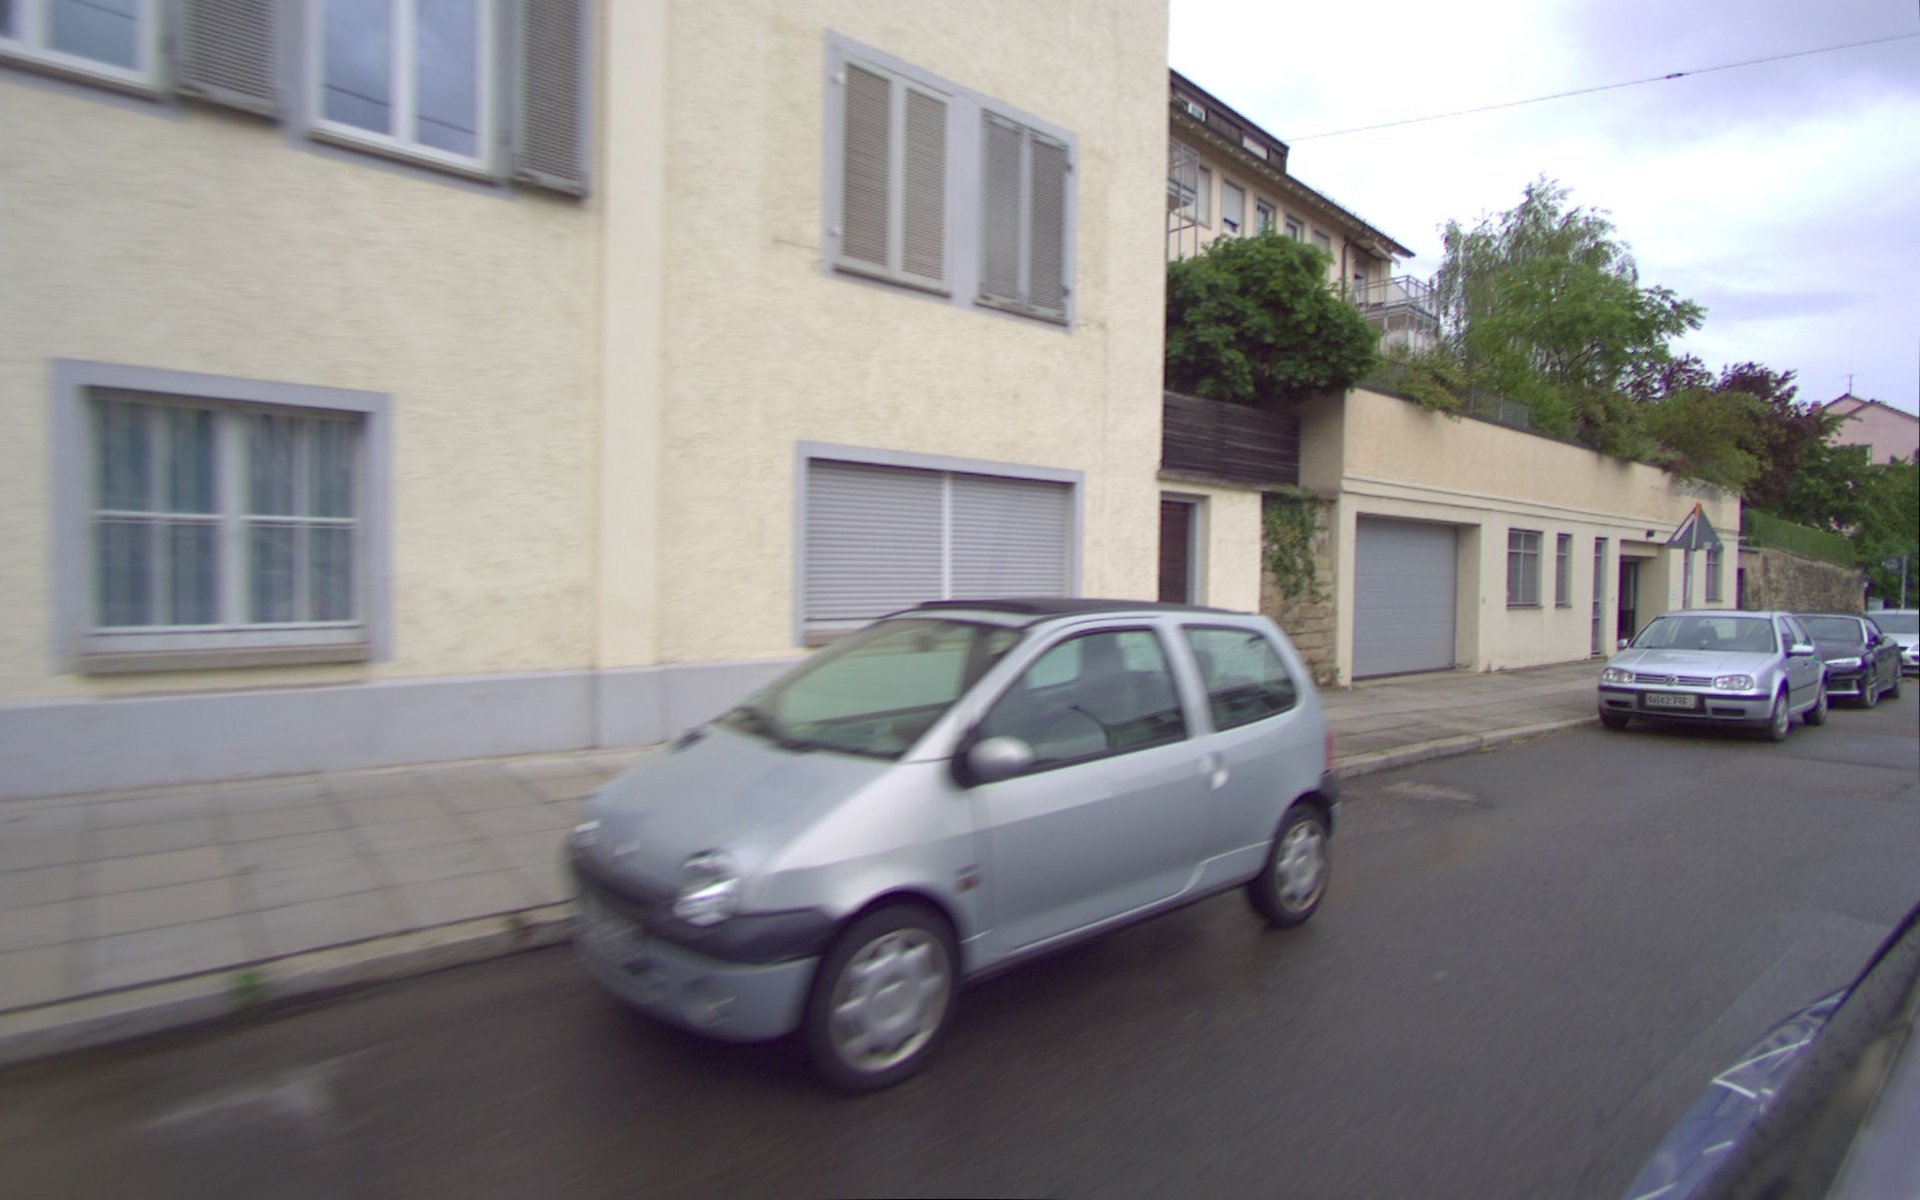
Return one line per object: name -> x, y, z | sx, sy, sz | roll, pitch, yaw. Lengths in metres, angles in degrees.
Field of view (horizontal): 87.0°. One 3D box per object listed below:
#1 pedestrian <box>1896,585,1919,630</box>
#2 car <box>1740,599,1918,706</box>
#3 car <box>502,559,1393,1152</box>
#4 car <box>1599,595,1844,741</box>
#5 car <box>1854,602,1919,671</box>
pedestrian -> 38.053, 0.299, 40.477 | 0.889, 1.736, 0.725 | 1, 2, -39
car -> 13.682, 0.738, 15.869 | 3.694, 1.472, 1.632 | 0, 0, -41
car -> 0.225, 0.638, 4.334 | 3.694, 1.472, 1.561 | 0, 0, -41
car -> 9.185, 0.693, 12.110 | 3.694, 1.472, 1.632 | 0, 0, -41
car -> 21.985, 0.803, 23.226 | 4.161, 1.472, 1.691 | 0, 0, -41
